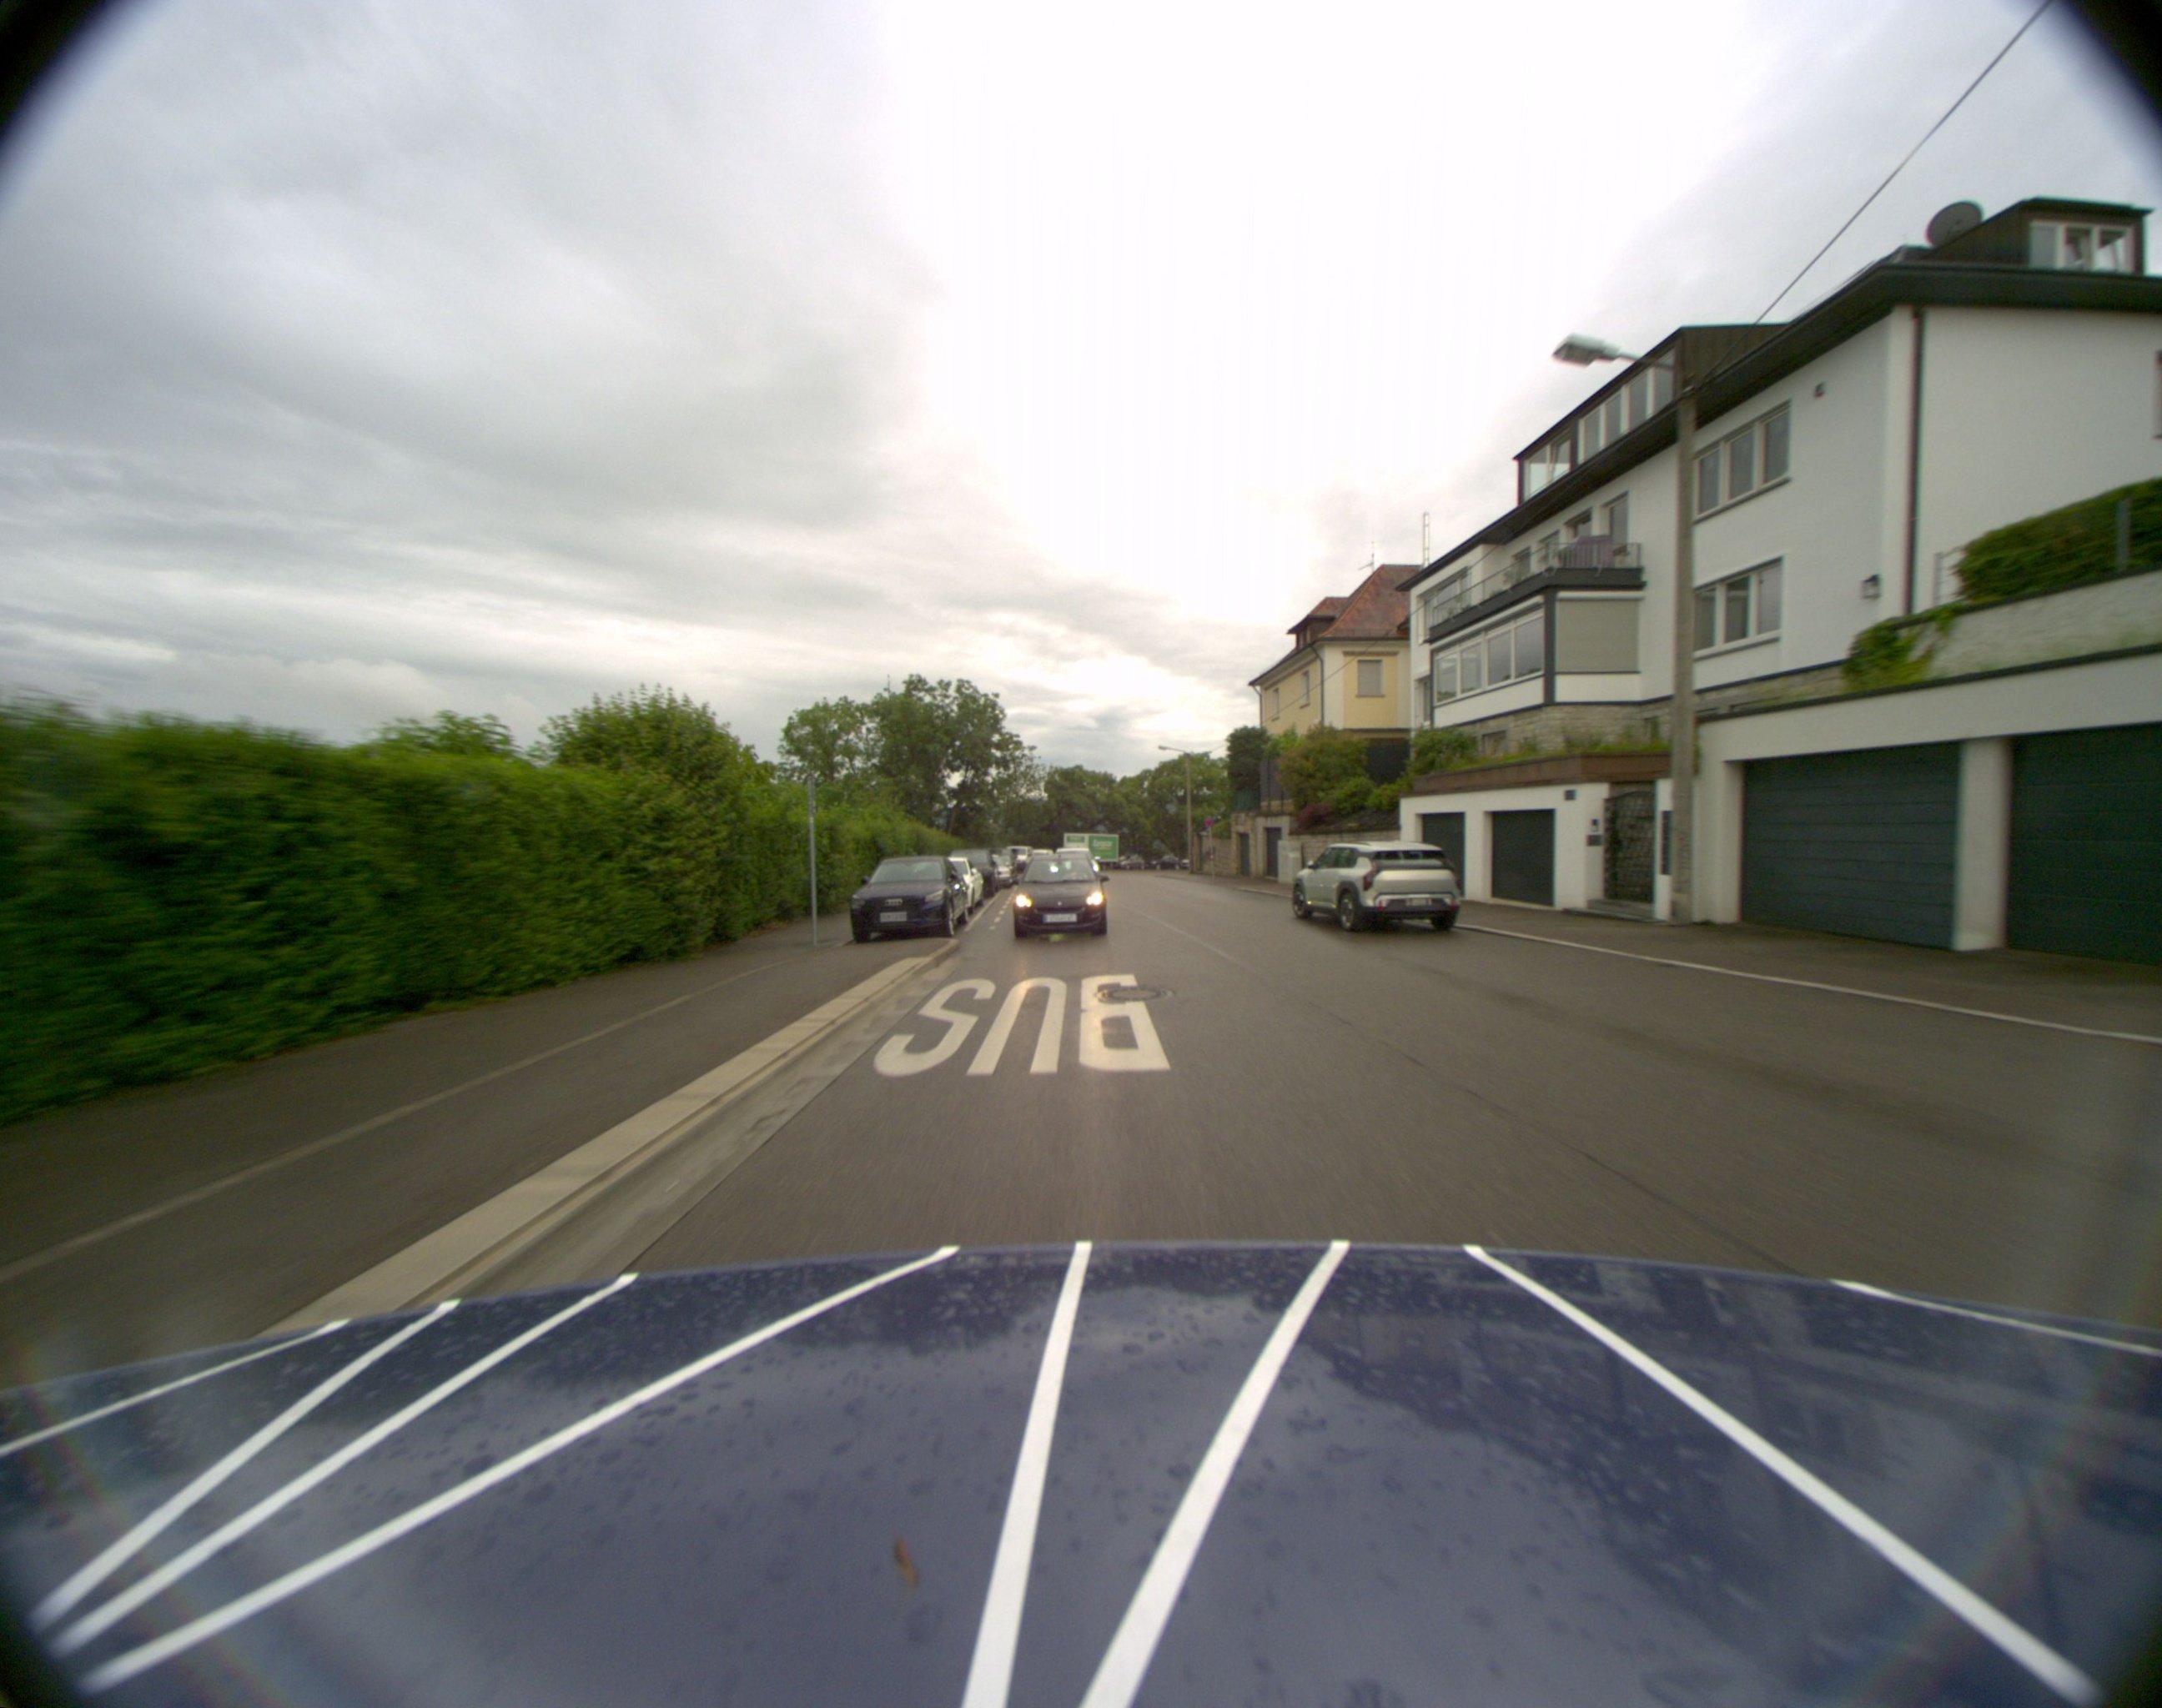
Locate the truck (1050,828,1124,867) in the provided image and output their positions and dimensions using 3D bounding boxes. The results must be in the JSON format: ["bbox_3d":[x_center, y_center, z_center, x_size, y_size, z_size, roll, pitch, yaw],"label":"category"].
[{"bbox_3d":[0.688,-0.550,71.978,2.774,3.451,8.952,3,1,30],"label":"truck"}]

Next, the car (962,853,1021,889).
[{"bbox_3d":[-3.960,0.695,33.020,1.806,1.432,4.636,-2,0,-16],"label":"car"}]

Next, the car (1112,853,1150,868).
[{"bbox_3d":[5.159,0.655,78.386,1.734,1.494,4.145,3,1,41],"label":"car"}]

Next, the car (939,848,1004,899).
[{"bbox_3d":[-3.926,0.659,27.923,1.892,1.653,4.546,-2,0,-4],"label":"car"}]

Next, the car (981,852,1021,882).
[{"bbox_3d":[-4.078,0.611,39.393,1.693,1.414,3.982,-1,1,-1],"label":"car"}]

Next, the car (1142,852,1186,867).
[{"bbox_3d":[9.048,0.630,82.652,4.906,1.533,1.860,1,0,-42],"label":"car"}]

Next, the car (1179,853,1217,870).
[{"bbox_3d":[13.289,0.861,86.450,4.433,1.811,1.747,2,1,-41],"label":"car"}]

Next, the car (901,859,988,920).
[{"bbox_3d":[-3.567,0.867,20.618,1.718,1.397,4.606,-2,0,-3],"label":"car"}]

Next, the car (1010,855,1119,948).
[{"bbox_3d":[-0.405,0.791,14.918,1.784,1.477,4.404,-2,0,-3],"label":"car"}]

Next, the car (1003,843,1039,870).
[{"bbox_3d":[-4.416,0.183,56.823,1.864,1.936,4.809,1,0,5],"label":"car"}]

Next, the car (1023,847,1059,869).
[{"bbox_3d":[-3.259,0.310,62.858,1.862,1.760,4.384,-1,0,13],"label":"car"}]

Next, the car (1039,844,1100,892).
[{"bbox_3d":[-0.397,0.511,30.526,2.191,1.698,4.882,-1,0,0],"label":"car"}]

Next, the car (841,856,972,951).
[{"bbox_3d":[-3.295,0.857,15.142,1.759,1.521,4.204,-2,1,-3],"label":"car"}]

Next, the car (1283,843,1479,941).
[{"bbox_3d":[5.440,0.607,14.451,1.903,1.558,4.237,-1,0,-2],"label":"car"}]
